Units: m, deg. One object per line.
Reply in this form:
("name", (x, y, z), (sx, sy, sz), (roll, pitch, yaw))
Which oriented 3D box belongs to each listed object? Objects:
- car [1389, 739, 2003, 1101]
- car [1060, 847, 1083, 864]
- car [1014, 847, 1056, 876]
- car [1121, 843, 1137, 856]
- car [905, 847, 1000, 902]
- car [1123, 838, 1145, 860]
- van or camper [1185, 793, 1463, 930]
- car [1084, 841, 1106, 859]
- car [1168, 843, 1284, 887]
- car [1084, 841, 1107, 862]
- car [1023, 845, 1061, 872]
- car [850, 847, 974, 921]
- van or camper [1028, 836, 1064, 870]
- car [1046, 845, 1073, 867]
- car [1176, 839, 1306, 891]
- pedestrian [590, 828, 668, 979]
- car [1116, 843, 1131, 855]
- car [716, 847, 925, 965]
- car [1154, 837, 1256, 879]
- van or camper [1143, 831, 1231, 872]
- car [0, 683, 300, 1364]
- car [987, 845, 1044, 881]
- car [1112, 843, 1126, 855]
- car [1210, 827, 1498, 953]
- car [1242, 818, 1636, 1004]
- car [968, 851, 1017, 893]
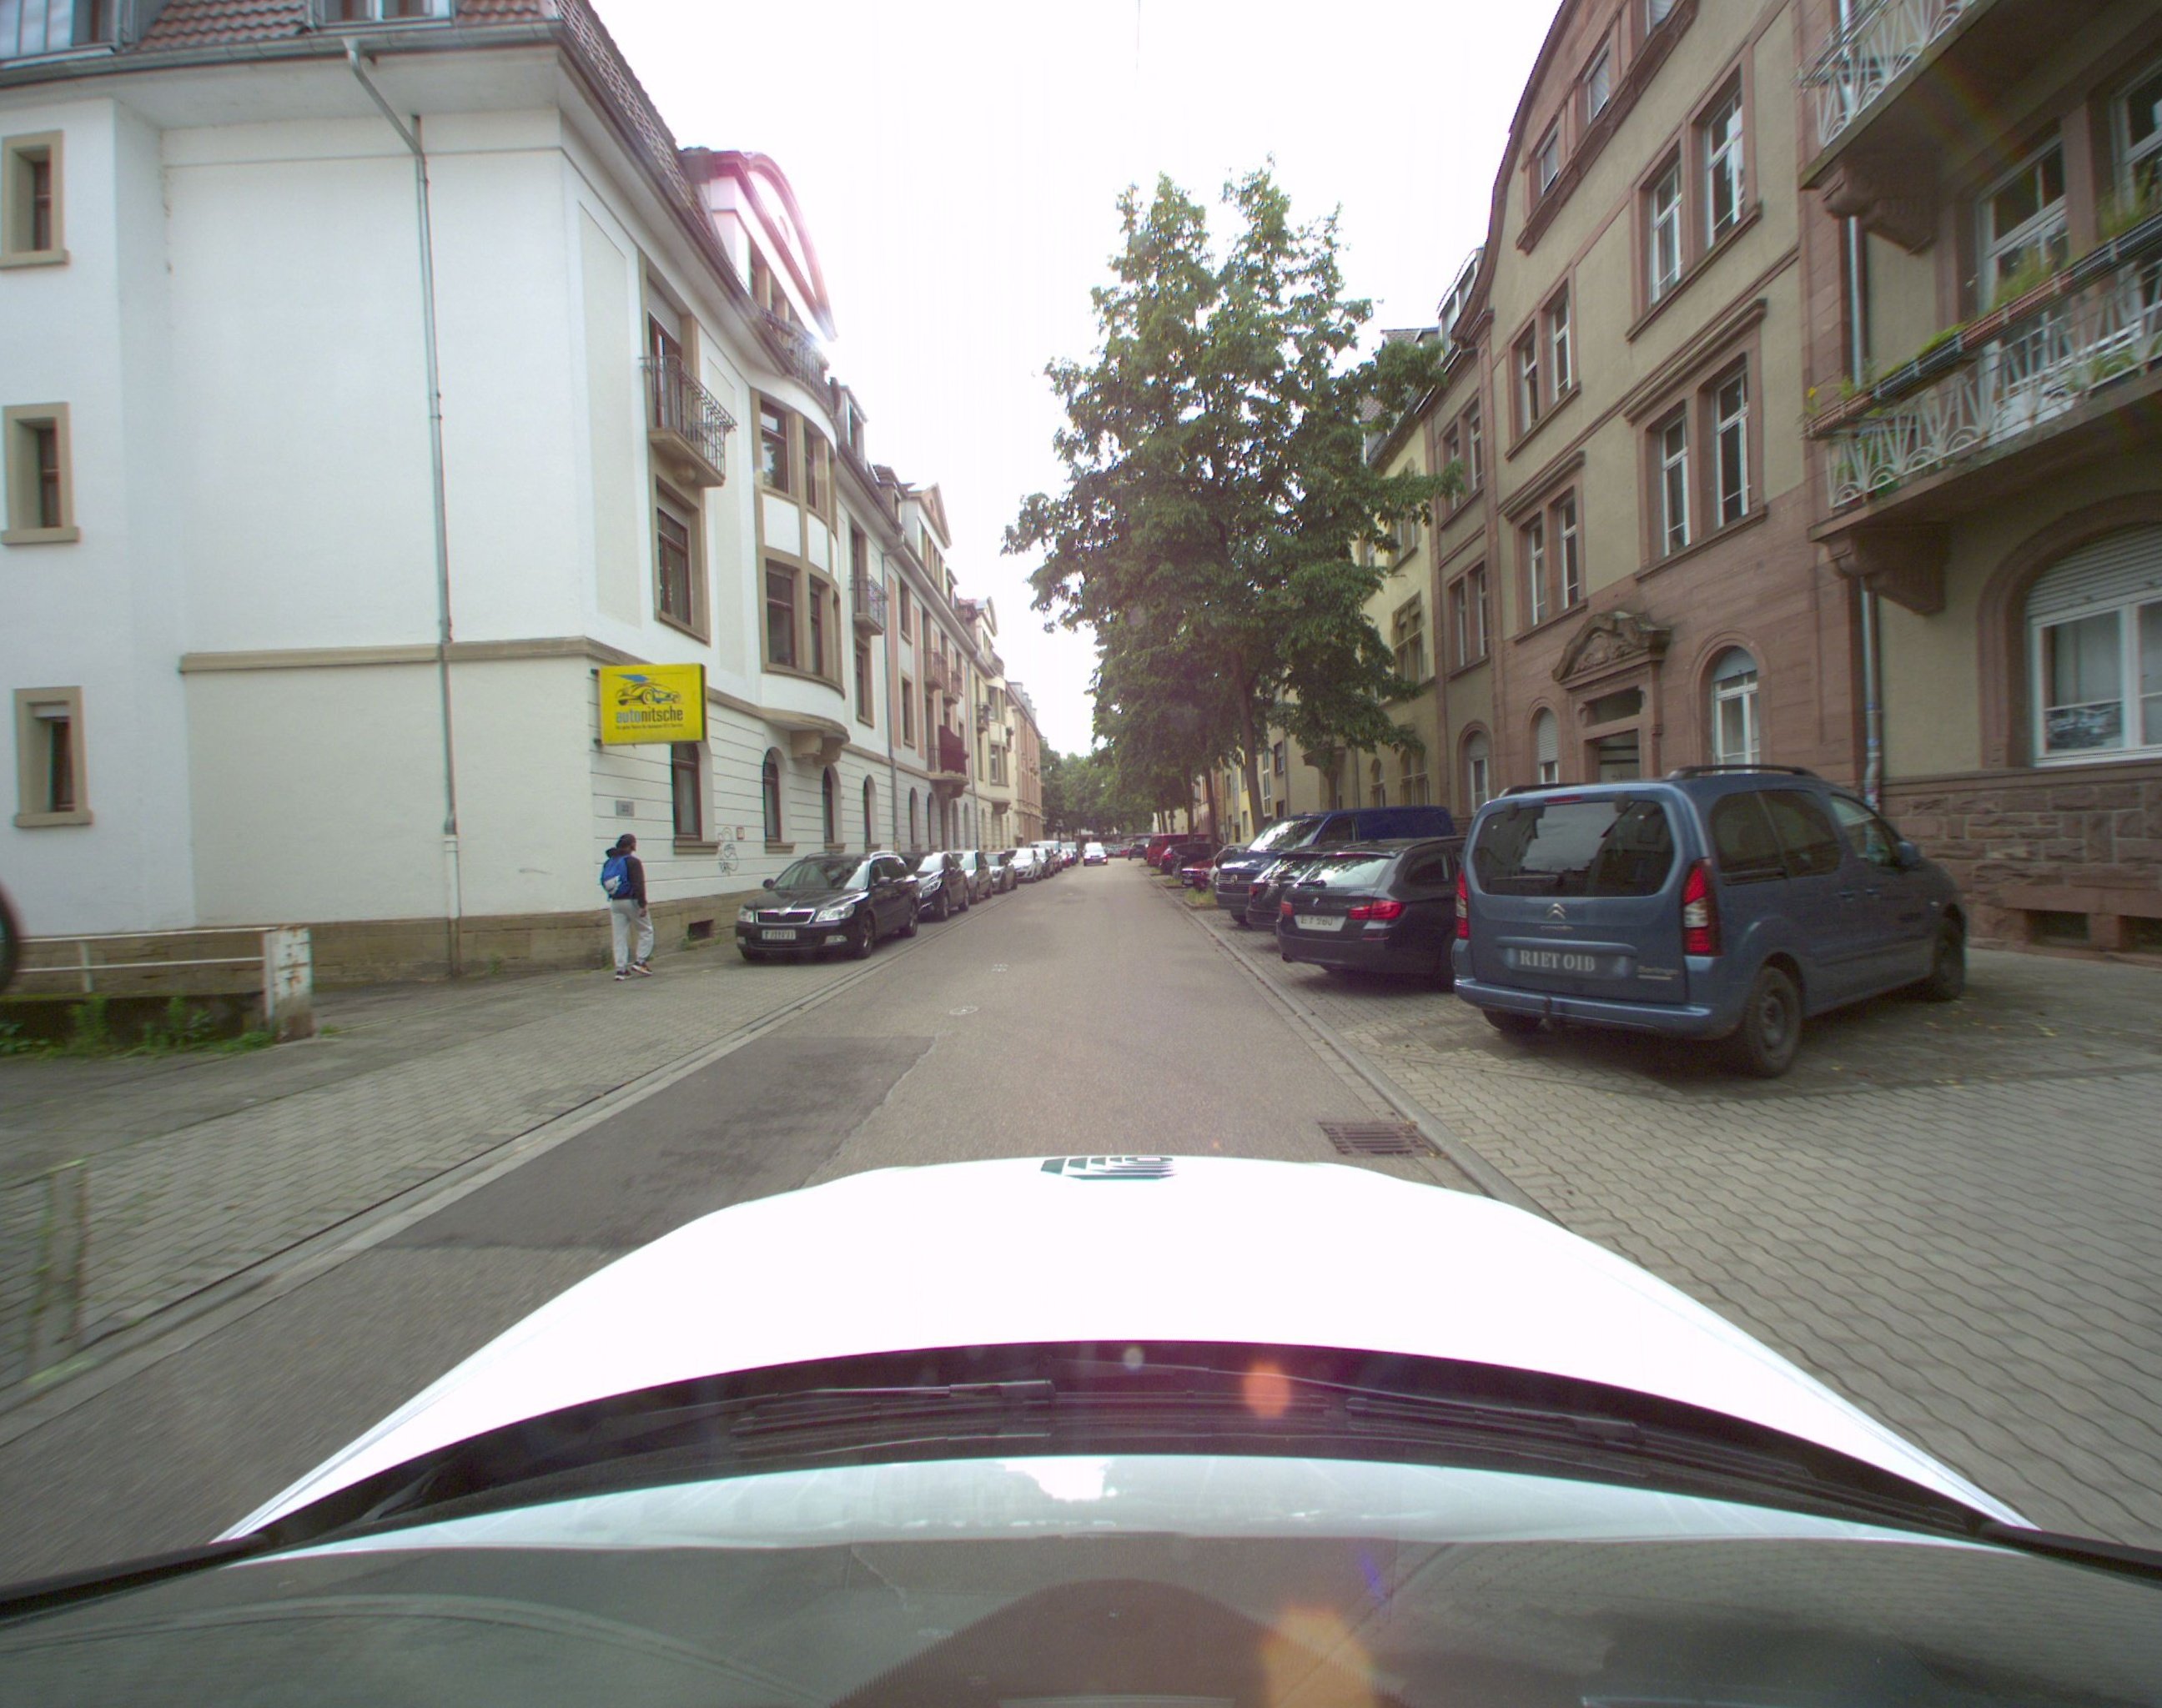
("car", (4.638, 0.237, 6.093), (4.196, 1.869, 1.982), (-5, 0, -28))
("car", (-0.767, 0.085, 69.115), (1.779, 1.374, 3.890), (1, 1, 2))
("car", (-2.283, 0.350, 41.552), (1.779, 1.374, 3.510), (1, 1, 2))
("car", (5.999, -0.562, 101.955), (1.863, 1.530, 3.842), (1, 1, 2))
("car", (-3.541, 0.509, 23.198), (1.940, 1.403, 4.002), (1, 1, 2))
("car", (5.118, -0.513, 79.434), (1.986, 2.013, 4.002), (1, 1, 2))
("van or camper", (4.488, 0.043, 14.875), (4.804, 2.137, 2.036), (-2, 0, -29))
("car", (1.369, -0.390, 77.473), (1.899, 1.677, 4.005), (1, 1, 4))
("car", (5.047, 0.365, 28.678), (3.752, 1.465, 1.727), (1, 1, -4))
("car", (1.220, -0.196, 66.158), (1.814, 1.644, 3.755), (1, 1, 2))
("car", (-2.192, 0.233, 46.749), (1.779, 1.444, 3.890), (1, 1, 2))
("car", (-3.600, 0.583, 18.028), (1.822, 1.426, 3.803), (1, 1, 2))
("van or camper", (-2.120, -0.082, 50.919), (1.874, 1.967, 4.410), (1, 1, 2))
("car", (-1.668, 0.133, 64.168), (1.779, 1.455, 3.890), (-6, 1, 2))
("car", (4.960, 0.326, 25.494), (3.702, 1.408, 1.574), (-2, 0, -4))
("pedestrian", (-5.382, 0.569, 9.720), (0.543, 1.740, 0.656), (0, 0, 0))
("car", (5.533, -0.662, 106.988), (1.863, 1.530, 4.001), (-1, 0, 2))
("car", (-3.744, 0.652, 12.510), (1.783, 1.480, 4.024), (-1, 1, 2))
("car", (4.956, 0.147, 32.773), (3.753, 1.465, 1.727), (-2, 0, -4))
("van or camper", (5.518, -0.134, 42.486), (4.168, 2.085, 1.936), (0, 1, -26))
("car", (-4.251, 0.512, 0.866), (1.986, 2.013, 4.894), (1, 1, 2))
("car", (-2.774, 0.347, 35.295), (1.986, 1.475, 4.003), (1, 1, 2))
("car", (5.192, -0.747, 112.583), (1.863, 1.628, 4.002), (1, 1, 2))
("car", (4.036, 0.435, 11.984), (3.882, 1.499, 1.786), (-2, 0, -27))
("car", (3.970, 0.467, 8.946), (4.035, 1.559, 1.867), (-2, 0, -29))
("car", (-2.951, 0.570, 27.577), (1.205, 1.309, 3.262), (1, 1, 2))
